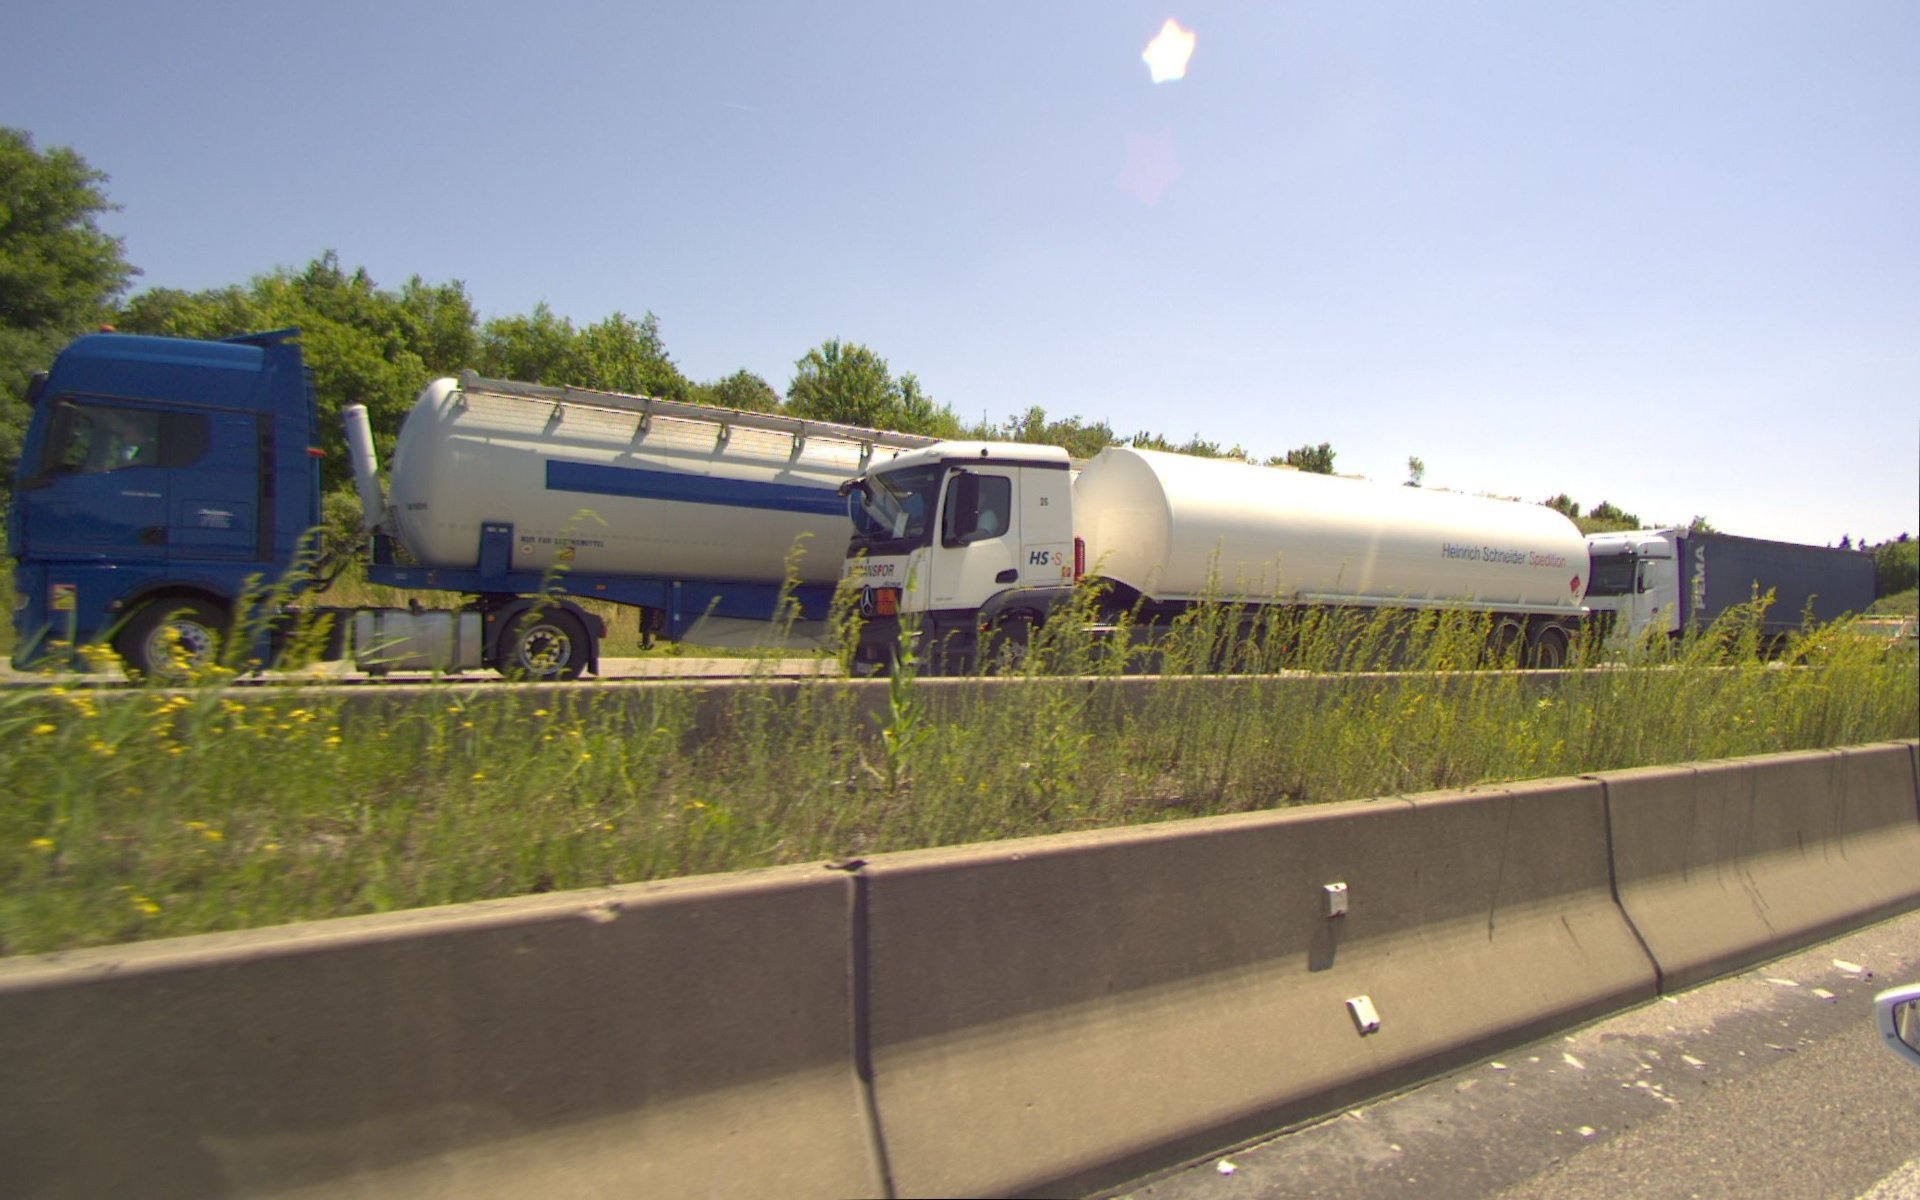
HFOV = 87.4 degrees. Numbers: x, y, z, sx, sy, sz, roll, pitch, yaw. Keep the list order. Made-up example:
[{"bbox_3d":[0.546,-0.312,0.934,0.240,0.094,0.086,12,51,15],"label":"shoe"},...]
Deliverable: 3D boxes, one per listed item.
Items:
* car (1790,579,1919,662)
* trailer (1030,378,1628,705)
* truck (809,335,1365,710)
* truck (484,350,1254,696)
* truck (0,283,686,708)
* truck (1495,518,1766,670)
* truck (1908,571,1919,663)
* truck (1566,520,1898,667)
[{"bbox_3d":[25.666,0.609,28.184,5.002,2.091,2.075,3,1,-31],"label":"car"},{"bbox_3d":[6.615,-0.588,16.467,11.514,4.002,2.665,1,-1,-32],"label":"trailer"},{"bbox_3d":[1.915,-0.733,13.582,7.317,3.942,2.605,2,0,-31],"label":"truck"},{"bbox_3d":[-0.893,-0.754,16.761,12.433,4.148,3.561,2,0,-31],"label":"truck"},{"bbox_3d":[-7.334,-0.958,12.869,6.568,4.090,3.472,3,2,-31],"label":"truck"},{"bbox_3d":[20.200,-0.065,30.144,8.052,3.961,3.491,3,1,-31],"label":"truck"},{"bbox_3d":[44.244,0.887,43.681,6.244,3.930,2.679,3,0,-31],"label":"truck"},{"bbox_3d":[26.381,0.018,33.831,14.832,4.148,3.560,2,0,-31],"label":"truck"}]
